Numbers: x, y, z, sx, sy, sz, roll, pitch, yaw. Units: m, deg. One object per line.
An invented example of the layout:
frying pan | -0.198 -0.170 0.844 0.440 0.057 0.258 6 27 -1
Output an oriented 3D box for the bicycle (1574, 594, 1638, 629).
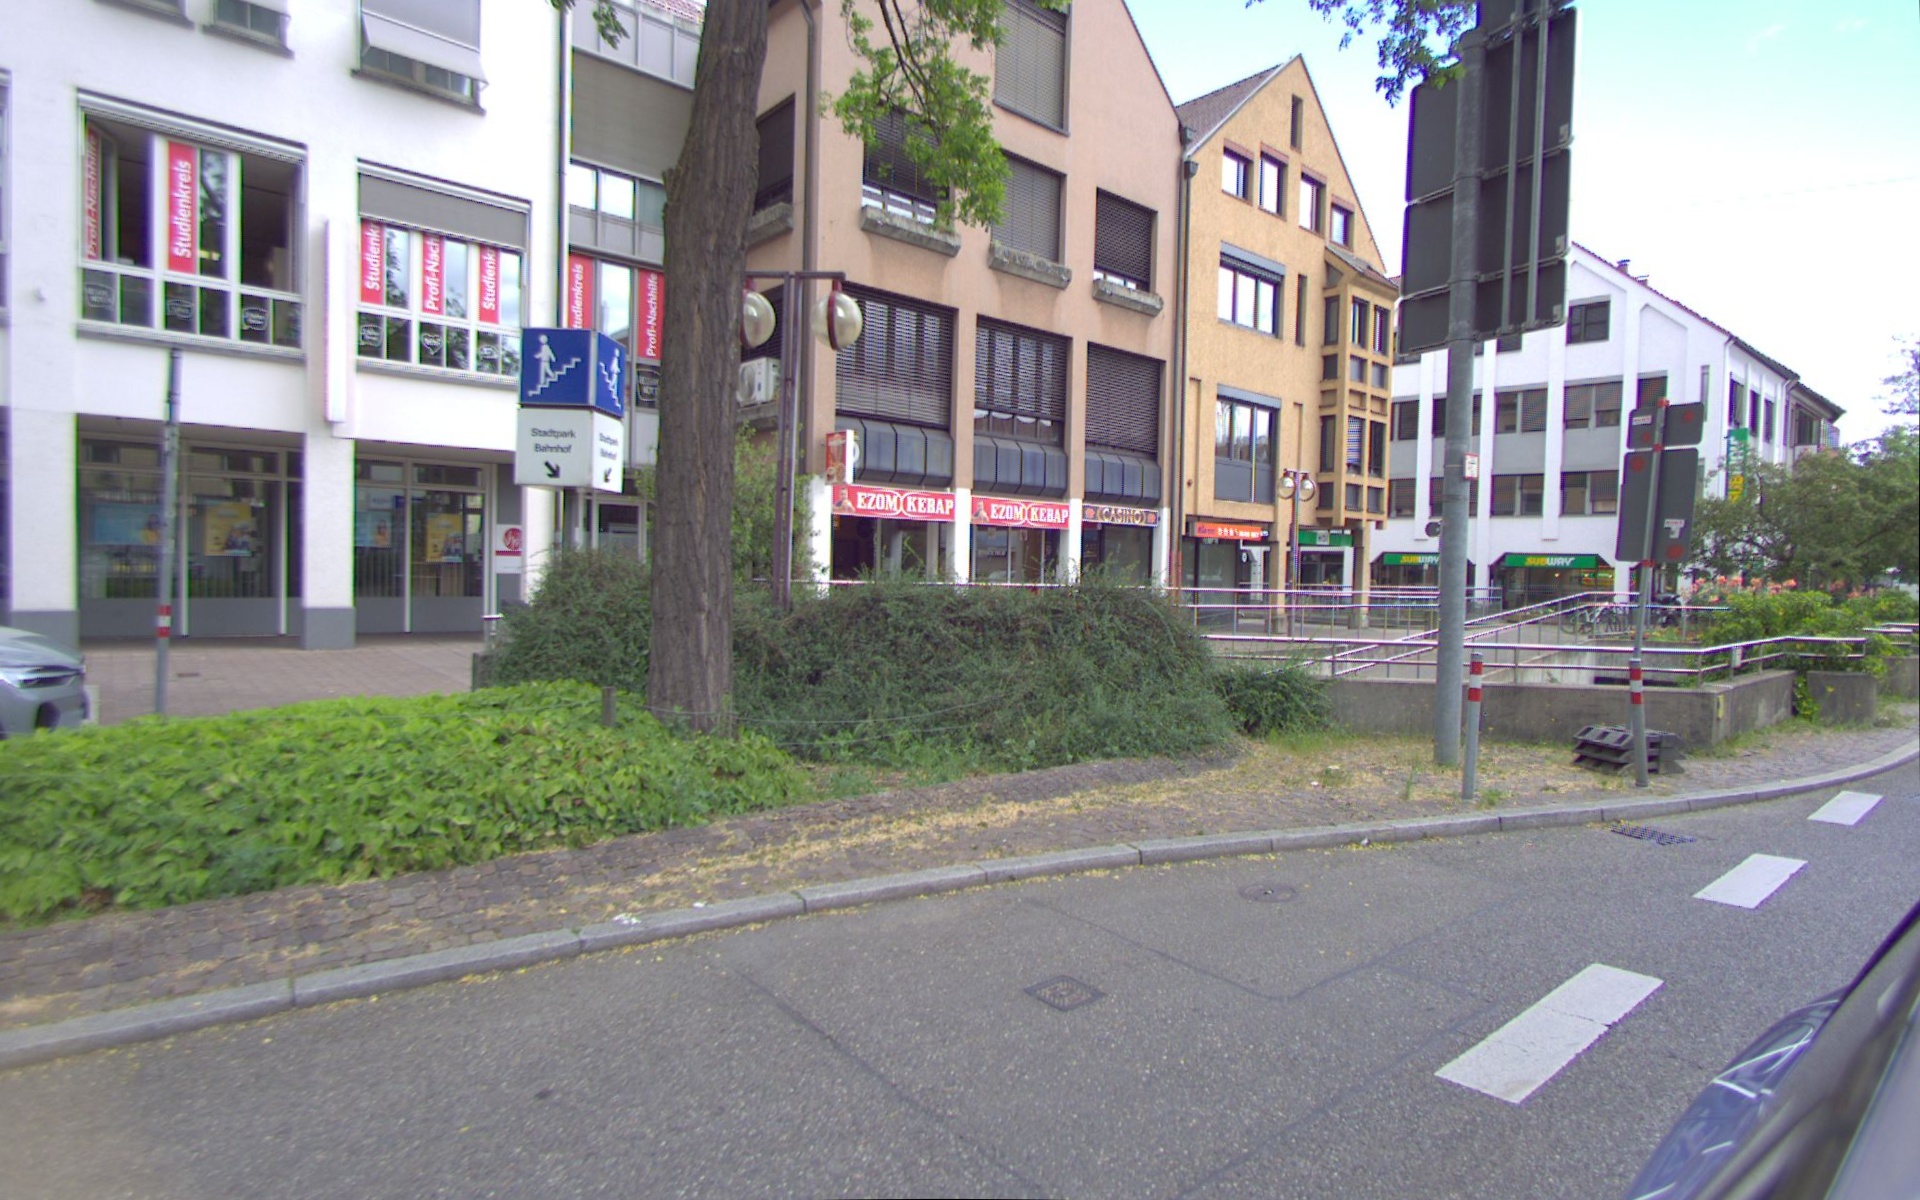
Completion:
bicycle | 19.241 0.339 30.156 1.584 0.981 0.455 2 1 36

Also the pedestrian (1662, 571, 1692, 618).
pedestrian | 28.925 -0.231 40.827 0.772 1.846 0.869 0 0 -44

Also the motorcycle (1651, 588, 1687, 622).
motorcycle | 22.896 0.159 32.662 1.960 1.081 0.464 0 2 -41

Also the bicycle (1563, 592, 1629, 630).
bicycle | 18.627 0.311 29.669 1.584 1.014 0.409 2 1 37

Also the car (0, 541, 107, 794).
car | -8.101 0.398 5.907 4.684 1.615 1.996 0 2 -44

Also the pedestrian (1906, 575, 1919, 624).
pedestrian | 31.105 -0.013 32.726 0.672 1.596 0.653 0 1 -40

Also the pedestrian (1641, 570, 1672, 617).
pedestrian | 26.937 -0.250 39.137 0.882 1.779 0.931 2 1 38
